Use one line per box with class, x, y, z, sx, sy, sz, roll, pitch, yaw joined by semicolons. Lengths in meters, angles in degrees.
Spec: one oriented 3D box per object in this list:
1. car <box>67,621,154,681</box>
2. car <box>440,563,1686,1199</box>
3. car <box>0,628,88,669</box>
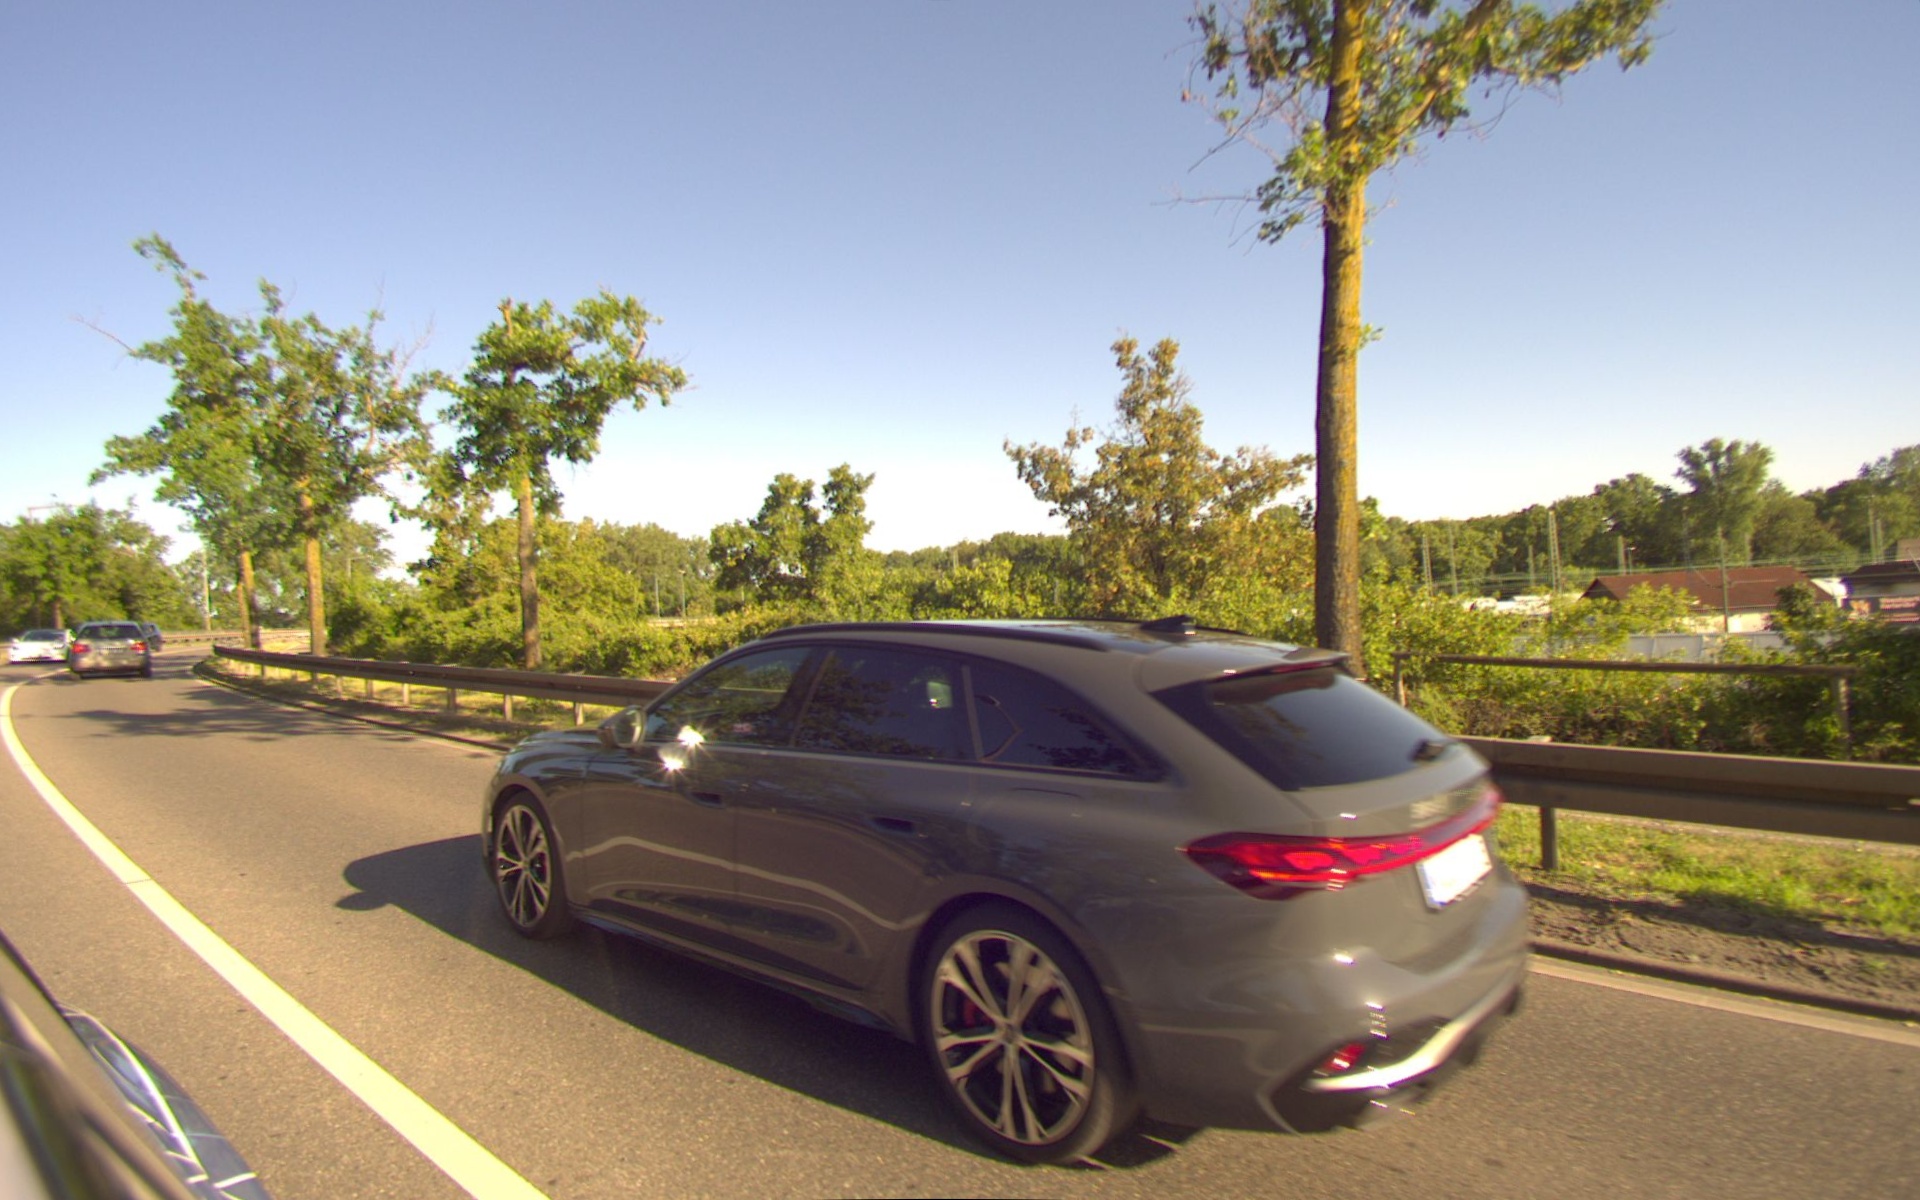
car;-24.138;1.405;28.753;1.787;1.566;4.146;0;-2;-41
car;-0.123;0.727;4.013;4.714;1.503;1.830;-2;0;41
car;-38.268;1.964;42.171;2.114;1.579;4.211;0;-1;-29
